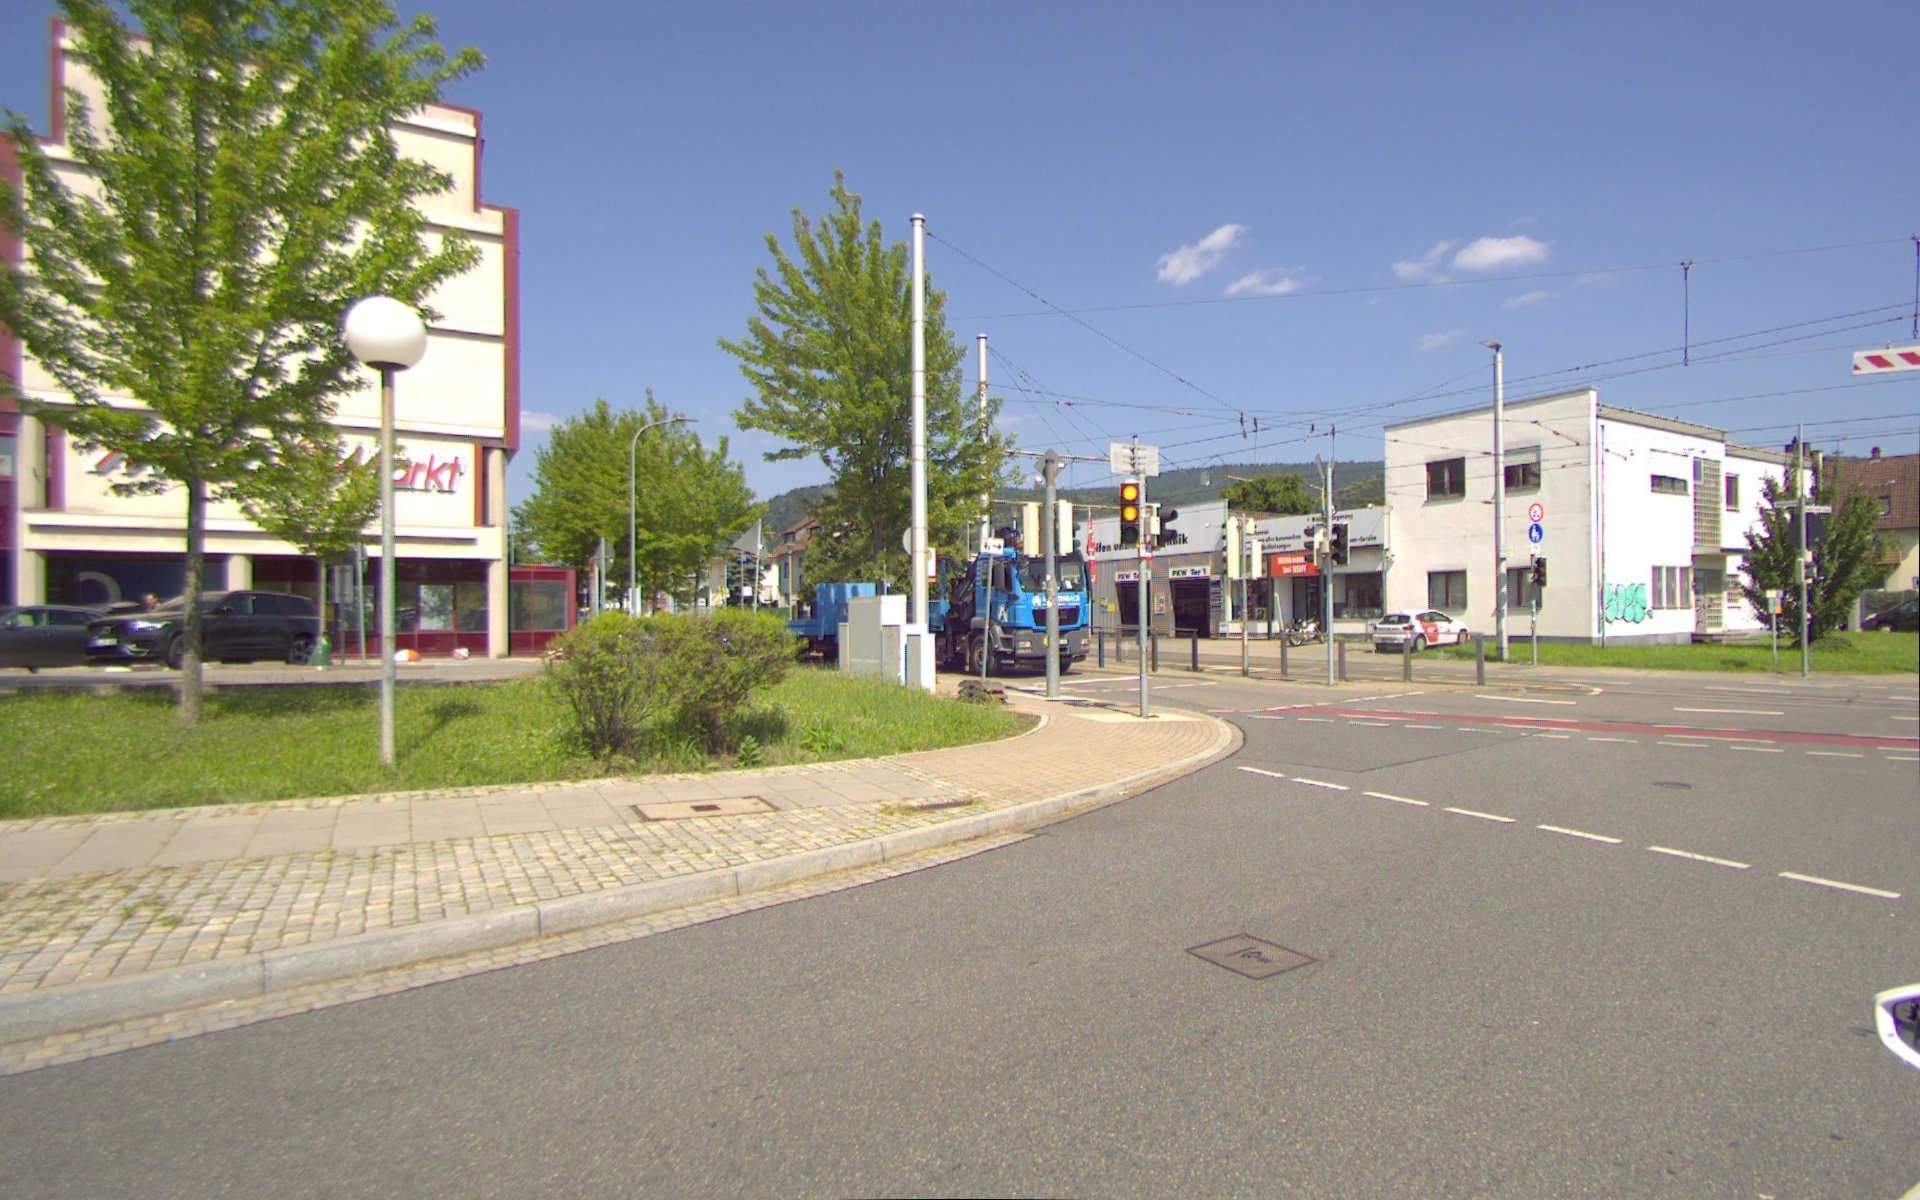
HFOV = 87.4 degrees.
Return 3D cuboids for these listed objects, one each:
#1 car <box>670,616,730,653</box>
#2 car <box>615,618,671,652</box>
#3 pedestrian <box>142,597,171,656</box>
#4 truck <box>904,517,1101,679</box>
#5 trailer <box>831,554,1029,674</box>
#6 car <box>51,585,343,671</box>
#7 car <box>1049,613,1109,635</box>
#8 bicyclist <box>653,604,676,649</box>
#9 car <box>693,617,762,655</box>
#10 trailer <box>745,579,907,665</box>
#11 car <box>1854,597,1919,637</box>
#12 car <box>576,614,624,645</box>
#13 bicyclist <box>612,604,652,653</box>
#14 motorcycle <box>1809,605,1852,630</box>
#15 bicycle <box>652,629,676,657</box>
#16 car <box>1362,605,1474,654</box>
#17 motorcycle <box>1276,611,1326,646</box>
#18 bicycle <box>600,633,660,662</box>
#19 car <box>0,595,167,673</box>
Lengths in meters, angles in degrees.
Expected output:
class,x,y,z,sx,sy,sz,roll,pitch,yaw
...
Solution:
class,x,y,z,sx,sy,sz,roll,pitch,yaw
car,-12.682,1.633,48.852,1.709,1.605,4.037,-3,1,-31
car,-14.679,1.587,46.399,1.708,1.482,3.874,2,-1,-29
pedestrian,-19.065,0.629,23.836,0.517,1.374,0.457,1,-1,-40
truck,0.943,-0.031,25.565,2.721,3.657,4.997,0,0,-31
trailer,-1.080,0.381,28.934,2.721,3.017,6.840,0,0,-31
car,-16.416,0.685,22.070,2.143,1.615,5.120,-2,-3,7
car,7.886,1.544,66.490,3.736,1.394,1.708,0,0,-36
bicyclist,-9.985,0.895,33.937,0.711,1.467,0.919,2,0,-16
car,-10.330,1.554,44.375,1.709,1.492,4.243,-2,0,-31
trailer,-4.871,0.720,35.078,2.775,2.663,7.534,0,0,-32
car,45.013,0.772,46.440,1.983,1.840,5.207,0,-2,-39
car,-18.715,1.522,52.120,1.745,1.539,3.969,0,-1,-30
bicyclist,-10.008,0.863,30.664,0.708,1.467,0.922,2,0,21
motorcycle,38.826,0.795,44.804,2.542,1.046,0.846,2,0,-35
bicycle,-10.008,1.447,33.963,0.716,0.860,1.837,2,0,-15
car,16.767,1.046,36.754,3.956,1.482,1.873,-4,1,-33
motorcycle,14.195,1.171,41.807,2.166,1.326,0.725,-4,1,-33
bicycle,-10.040,1.423,30.647,0.714,0.804,1.843,2,0,21
car,-19.420,0.688,20.584,1.879,1.512,4.873,0,-2,12
